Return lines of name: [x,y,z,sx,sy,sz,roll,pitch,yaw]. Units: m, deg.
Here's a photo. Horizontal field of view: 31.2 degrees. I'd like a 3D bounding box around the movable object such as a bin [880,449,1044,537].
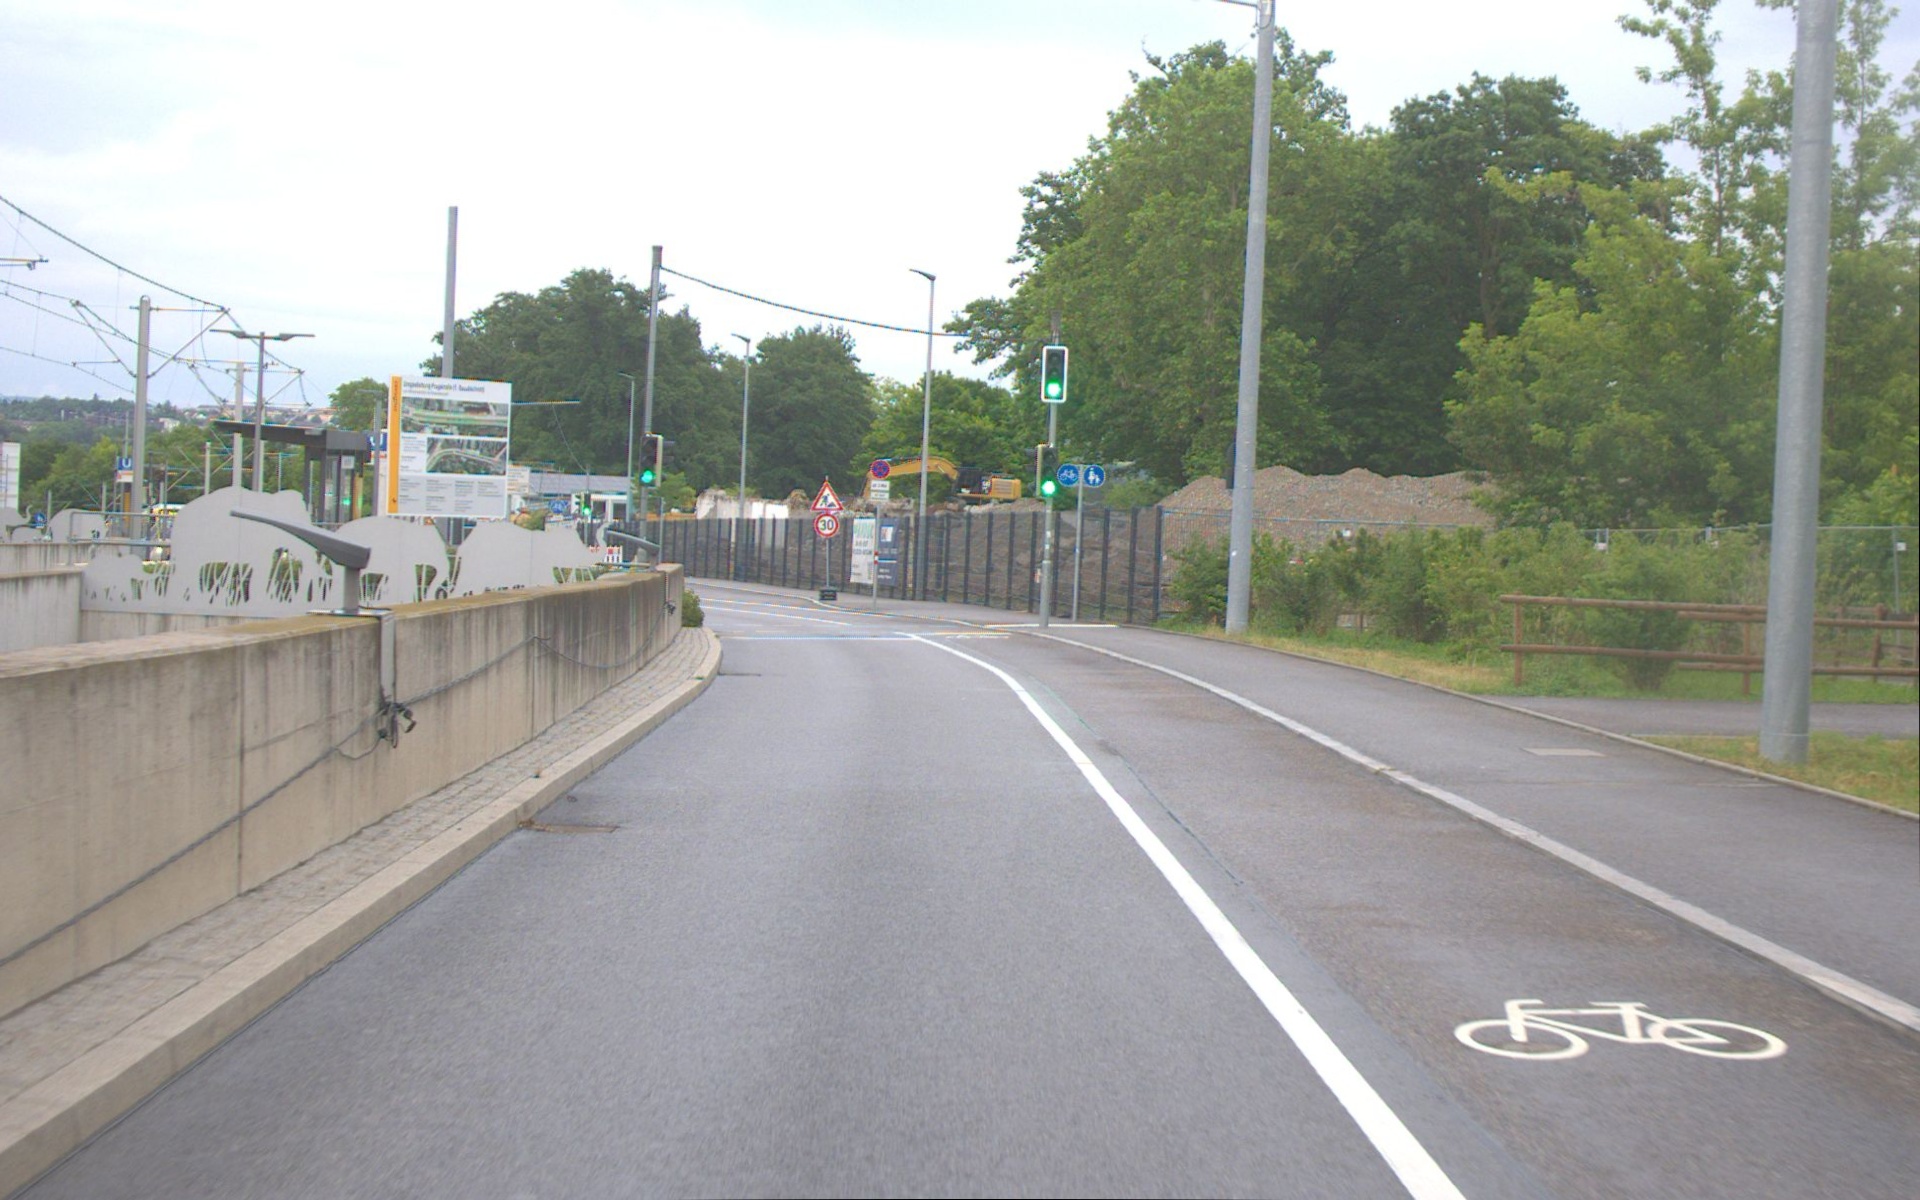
movable object such as a bin: [0.115,-7.578,244.043,11.229,5.975,3.492,1,0,-5]
